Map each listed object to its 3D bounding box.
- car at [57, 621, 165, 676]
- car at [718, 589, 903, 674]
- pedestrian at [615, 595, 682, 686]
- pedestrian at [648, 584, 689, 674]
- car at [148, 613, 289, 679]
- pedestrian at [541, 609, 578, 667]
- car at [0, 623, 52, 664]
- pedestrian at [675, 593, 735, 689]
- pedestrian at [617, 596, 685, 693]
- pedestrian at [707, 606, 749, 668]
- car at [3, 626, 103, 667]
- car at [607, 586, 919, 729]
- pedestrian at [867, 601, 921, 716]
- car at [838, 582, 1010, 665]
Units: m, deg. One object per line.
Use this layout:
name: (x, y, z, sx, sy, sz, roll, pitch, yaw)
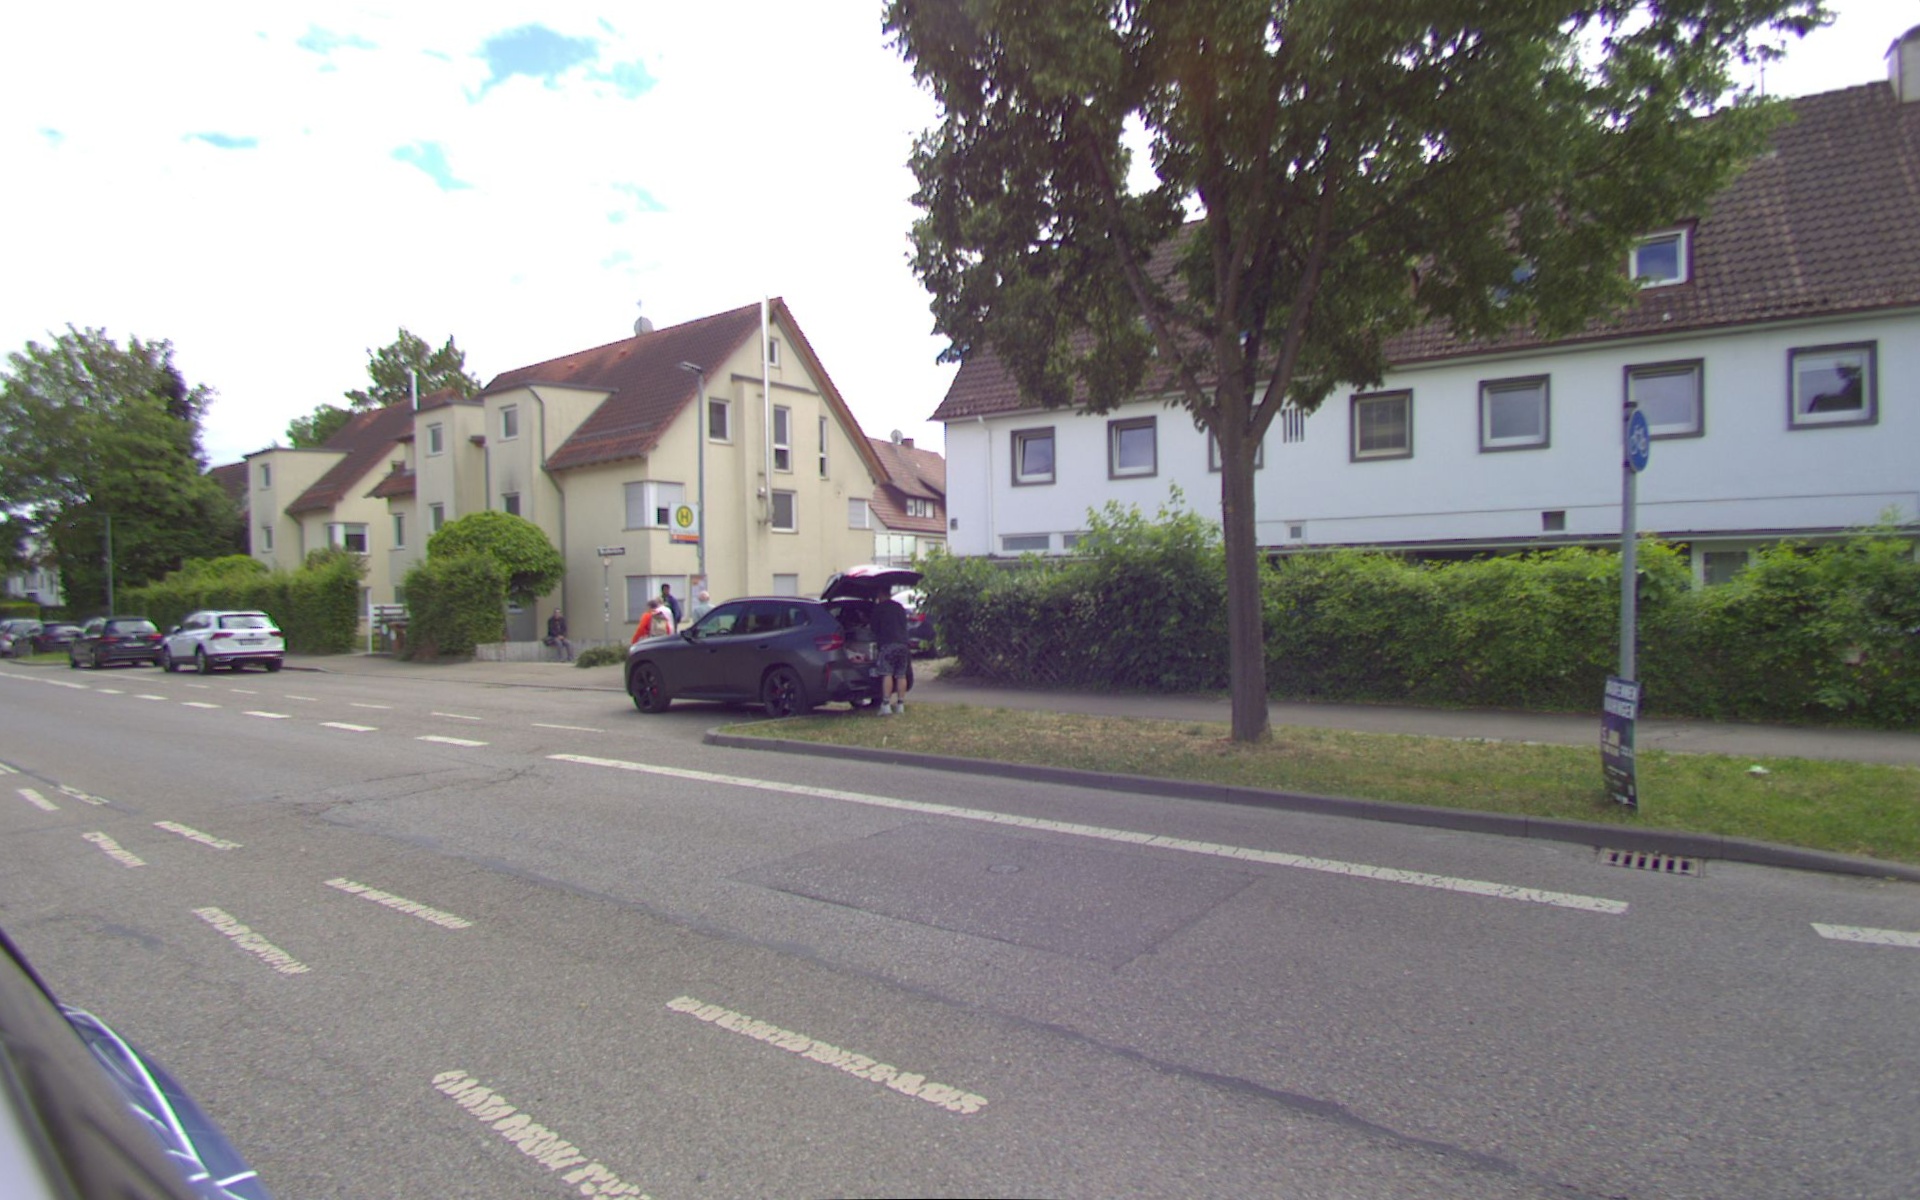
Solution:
car: (-26.310, 1.476, 31.323, 4.265, 1.563, 1.661, -2, -1, 37)
car: (-3.097, 0.615, 22.040, 2.022, 1.565, 4.495, -1, 1, 21)
pedestrian: (-6.097, 0.778, 19.810, 0.878, 1.675, 0.781, -2, 3, 32)
pedestrian: (-6.021, 0.598, 20.883, 0.670, 1.820, 0.499, -2, -1, 38)
car: (-20.261, 1.218, 27.604, 4.577, 1.646, 1.804, -2, -1, 36)
pedestrian: (-11.209, 1.059, 28.319, 0.836, 1.572, 0.663, -2, -1, 44)
car: (-40.202, 1.840, 43.067, 3.905, 1.625, 1.701, -1, -1, 39)
pedestrian: (-4.678, 0.735, 18.583, 0.590, 1.675, 0.780, -1, 3, 37)
pedestrian: (-5.659, 0.802, 18.550, 0.752, 1.675, 0.781, -2, 3, 32)
pedestrian: (-5.122, 0.810, 22.364, 0.705, 1.323, 0.582, -2, -1, 40)
car: (-35.658, 1.792, 39.770, 4.881, 1.496, 1.976, -1, -1, 36)
car: (-2.917, 0.738, 14.445, 4.555, 1.738, 1.709, -1, 0, 36)
pedestrian: (-0.865, 0.753, 13.195, 0.545, 1.447, 0.497, -1, -2, -20)
car: (-0.680, 0.452, 21.912, 1.785, 1.493, 3.957, -2, 2, 32)
